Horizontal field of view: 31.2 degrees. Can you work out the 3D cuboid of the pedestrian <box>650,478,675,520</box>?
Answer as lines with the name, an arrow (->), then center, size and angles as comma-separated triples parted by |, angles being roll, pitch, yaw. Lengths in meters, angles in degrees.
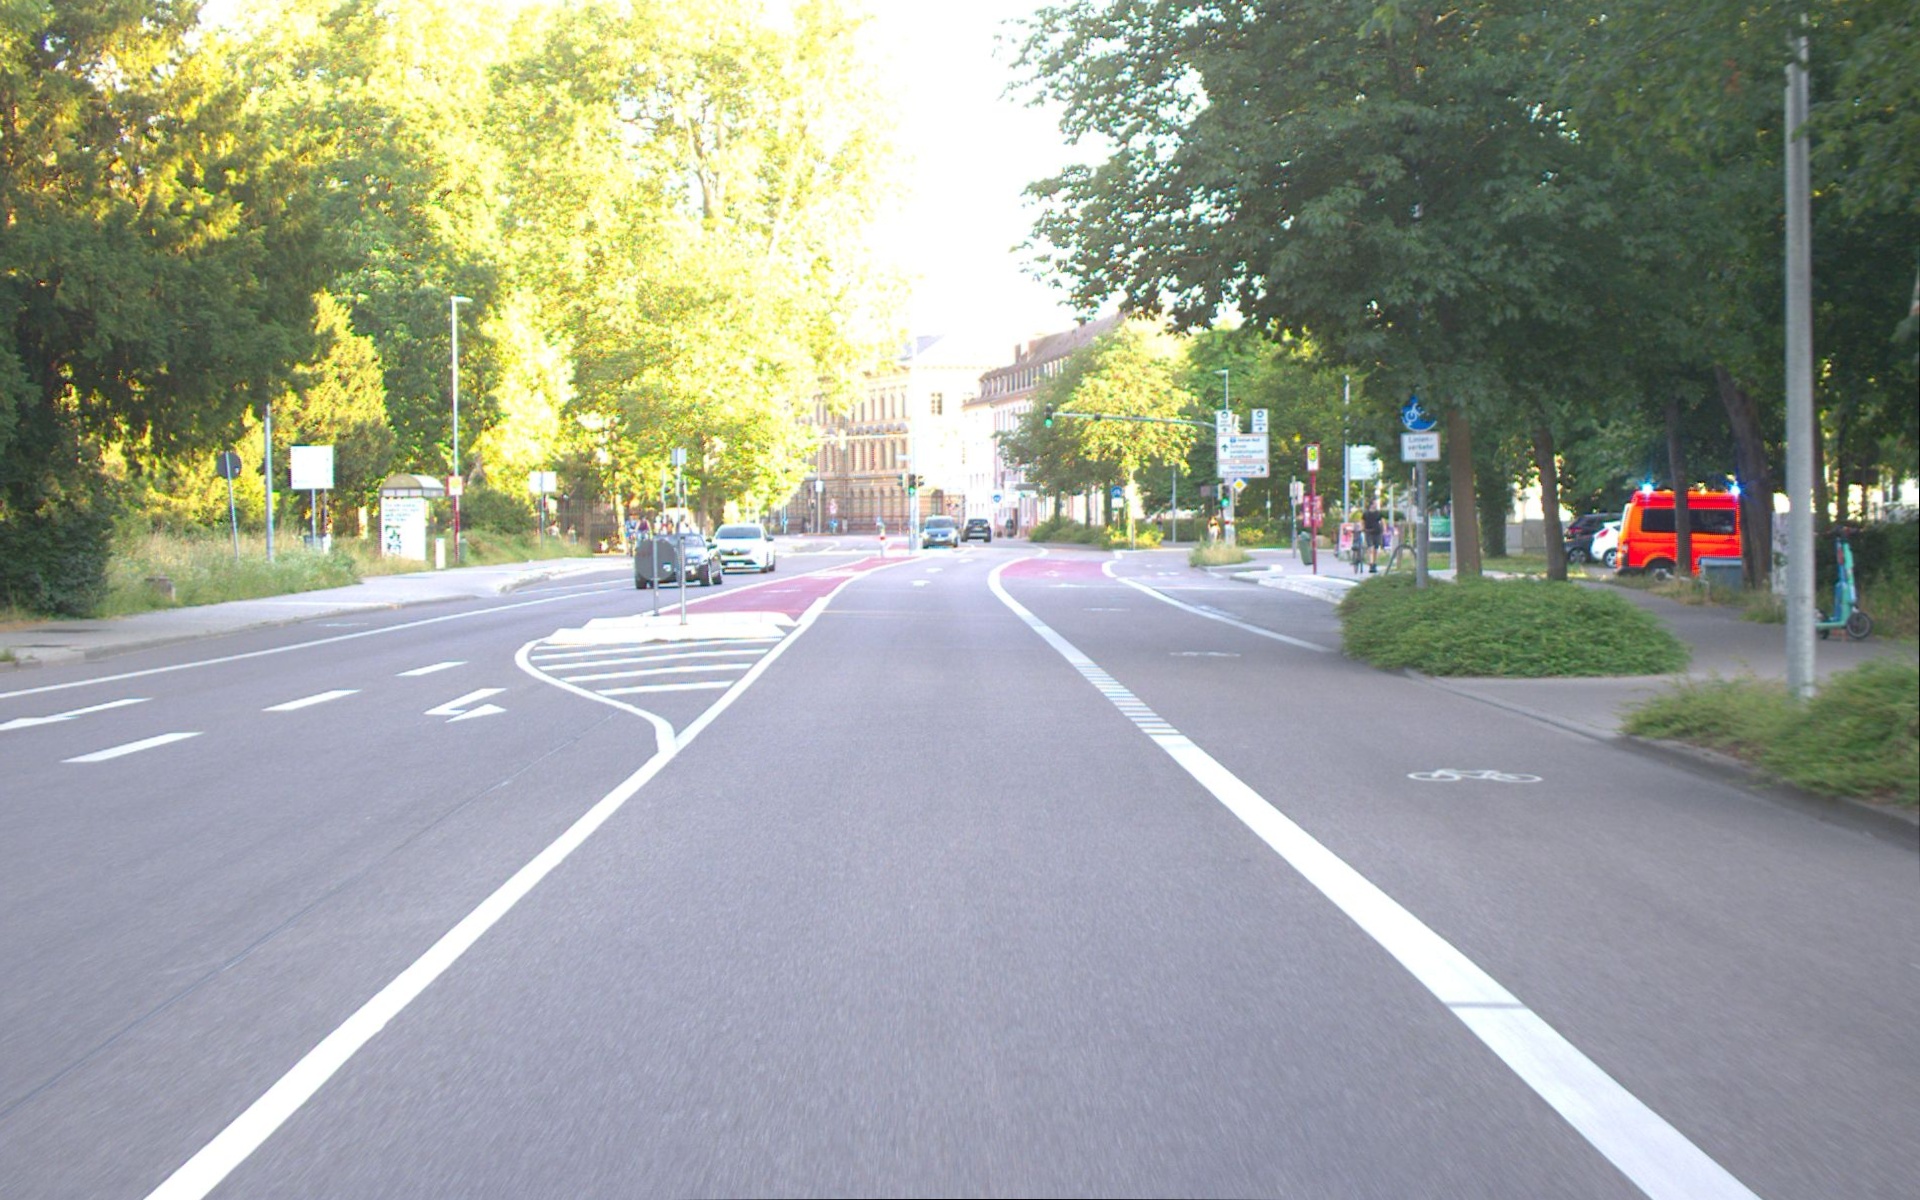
pedestrian -> -11.257, -3.820, 130.048 | 0.791, 1.575, 0.745 | 1, 2, 9

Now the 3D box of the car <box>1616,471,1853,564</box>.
car -> 17.009, -1.818, 75.695 | 4.912, 1.983, 1.921 | 0, 1, 7

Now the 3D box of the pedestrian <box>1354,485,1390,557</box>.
pedestrian -> 9.947, -1.914, 83.013 | 0.769, 1.734, 0.731 | 0, 1, 0

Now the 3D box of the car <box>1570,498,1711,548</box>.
car -> 22.389, -2.539, 113.222 | 4.460, 1.584, 1.715 | 0, 1, 7

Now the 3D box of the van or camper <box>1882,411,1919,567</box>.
van or camper -> 21.748, -2.298, 72.708 | 3.439, 3.188, 8.229 | 2, 2, 9

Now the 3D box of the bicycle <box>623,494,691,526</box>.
bicycle -> -11.468, -3.407, 130.089 | 2.463, 1.191, 0.757 | 0, 1, 9

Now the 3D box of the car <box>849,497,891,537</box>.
car -> -3.421, -3.160, 130.871 | 1.493, 1.481, 3.491 | 0, 2, 0

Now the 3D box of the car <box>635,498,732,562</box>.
car -> -6.479, -1.657, 80.992 | 1.798, 1.448, 4.127 | 0, 2, 2

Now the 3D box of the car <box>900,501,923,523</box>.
car -> -3.269, -5.933, 231.348 | 1.493, 1.481, 3.491 | 0, 2, 0

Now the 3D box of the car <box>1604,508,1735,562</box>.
car -> 21.522, -1.975, 104.446 | 3.774, 1.584, 1.715 | 0, 1, 7

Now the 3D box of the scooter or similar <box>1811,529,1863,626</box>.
scooter or similar -> 9.644, -0.257, 37.811 | 0.310, 1.038, 0.980 | -1, 2, 0

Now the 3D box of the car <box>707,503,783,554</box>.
car -> -6.217, -2.087, 99.765 | 1.798, 1.448, 4.127 | 0, 2, 2

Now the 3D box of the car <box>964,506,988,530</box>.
car -> 1.017, -5.235, 218.457 | 1.493, 1.481, 3.491 | 0, 2, 0

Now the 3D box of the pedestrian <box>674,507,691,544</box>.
pedestrian -> -10.885, -2.909, 134.858 | 0.579, 1.425, 0.560 | 1, 2, -9

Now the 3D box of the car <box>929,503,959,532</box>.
car -> -0.813, -4.215, 175.942 | 1.493, 1.481, 3.491 | 0, 2, 0
